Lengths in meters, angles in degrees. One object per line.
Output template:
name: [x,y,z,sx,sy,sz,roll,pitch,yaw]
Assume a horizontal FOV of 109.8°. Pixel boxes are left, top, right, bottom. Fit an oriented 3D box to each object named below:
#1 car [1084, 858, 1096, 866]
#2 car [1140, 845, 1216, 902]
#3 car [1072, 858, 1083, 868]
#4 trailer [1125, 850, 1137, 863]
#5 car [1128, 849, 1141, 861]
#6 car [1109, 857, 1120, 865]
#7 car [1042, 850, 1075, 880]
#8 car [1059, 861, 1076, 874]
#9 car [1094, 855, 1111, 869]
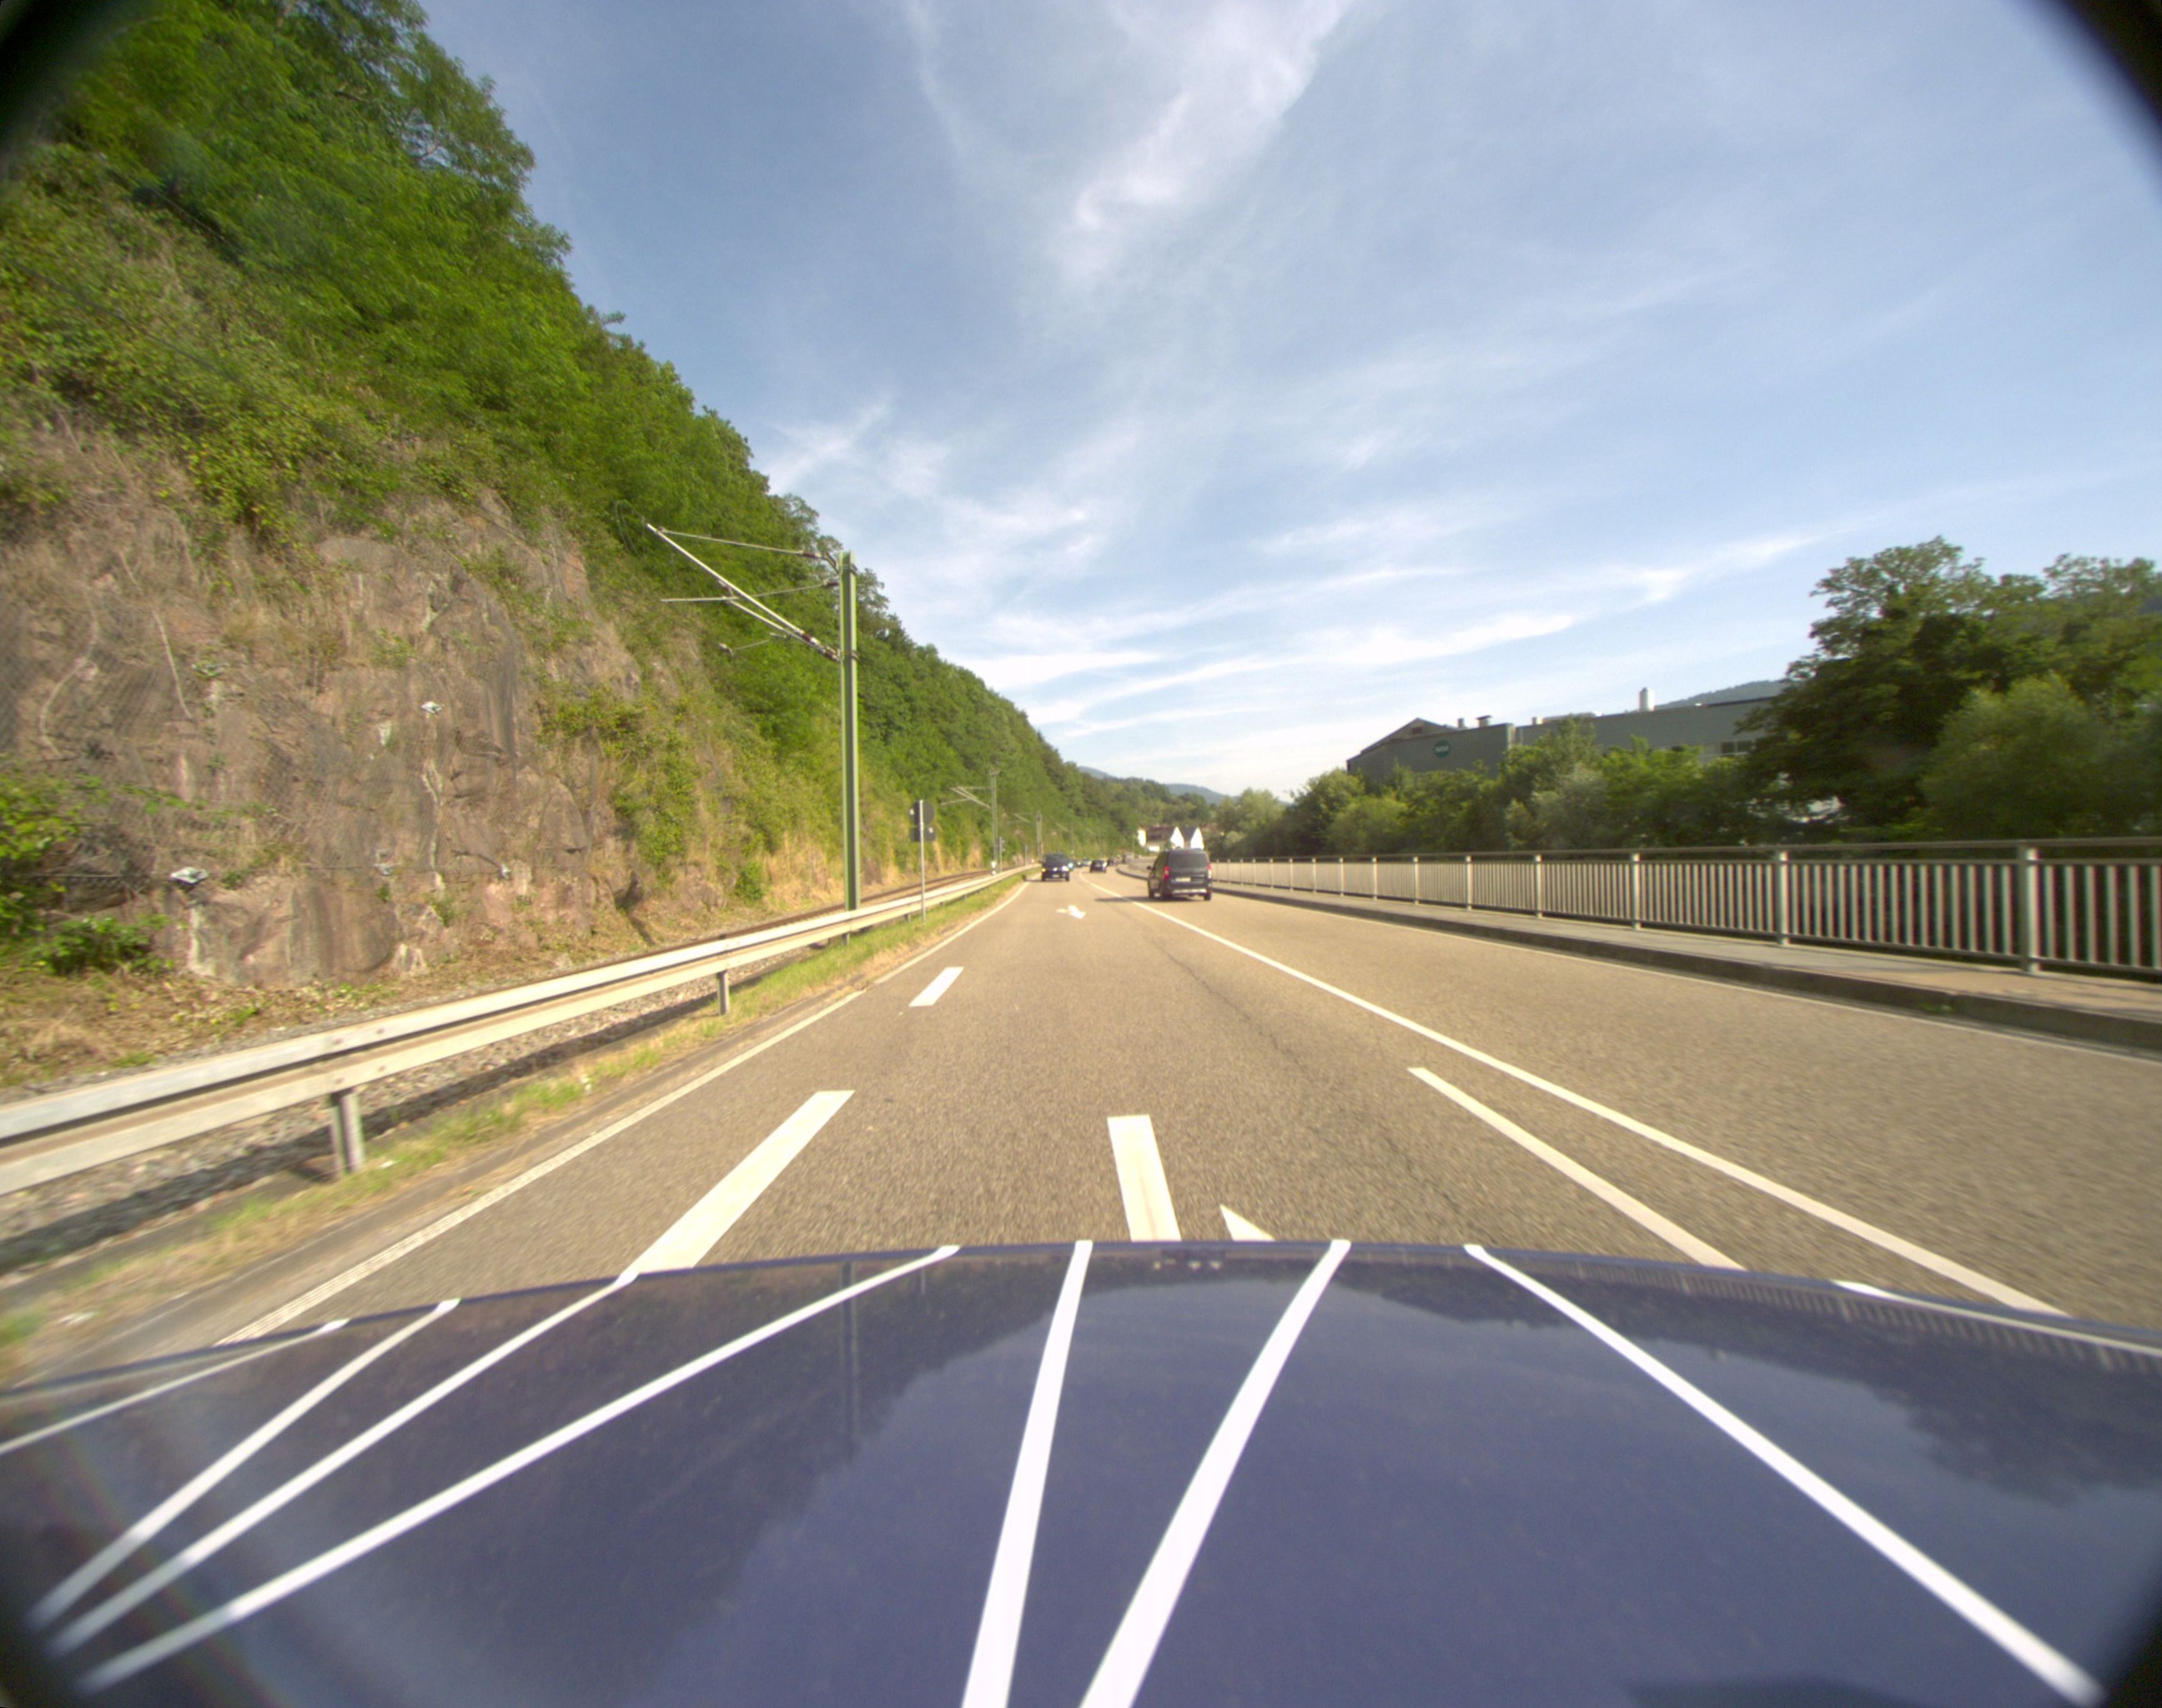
car: [1.617,1.349,130.997,1.764,1.304,3.750,-3,0,4]
car: [3.363,0.652,27.277,1.796,1.817,4.827,-1,0,-4]
car: [-0.490,1.383,114.822,1.652,1.424,3.331,2,0,-1]
trailer: [10.509,0.509,158.904,2.125,2.700,5.351,0,0,9]
car: [11.637,0.134,164.753,2.162,2.517,6.583,0,0,10]
car: [5.782,1.188,131.111,1.707,1.423,4.075,0,1,3]
car: [-1.520,0.748,52.379,1.909,1.867,4.349,-5,-1,1]
car: [-1.492,1.548,86.906,1.750,1.424,3.332,2,0,2]
car: [2.251,0.794,81.619,1.725,1.427,4.340,-1,0,1]
